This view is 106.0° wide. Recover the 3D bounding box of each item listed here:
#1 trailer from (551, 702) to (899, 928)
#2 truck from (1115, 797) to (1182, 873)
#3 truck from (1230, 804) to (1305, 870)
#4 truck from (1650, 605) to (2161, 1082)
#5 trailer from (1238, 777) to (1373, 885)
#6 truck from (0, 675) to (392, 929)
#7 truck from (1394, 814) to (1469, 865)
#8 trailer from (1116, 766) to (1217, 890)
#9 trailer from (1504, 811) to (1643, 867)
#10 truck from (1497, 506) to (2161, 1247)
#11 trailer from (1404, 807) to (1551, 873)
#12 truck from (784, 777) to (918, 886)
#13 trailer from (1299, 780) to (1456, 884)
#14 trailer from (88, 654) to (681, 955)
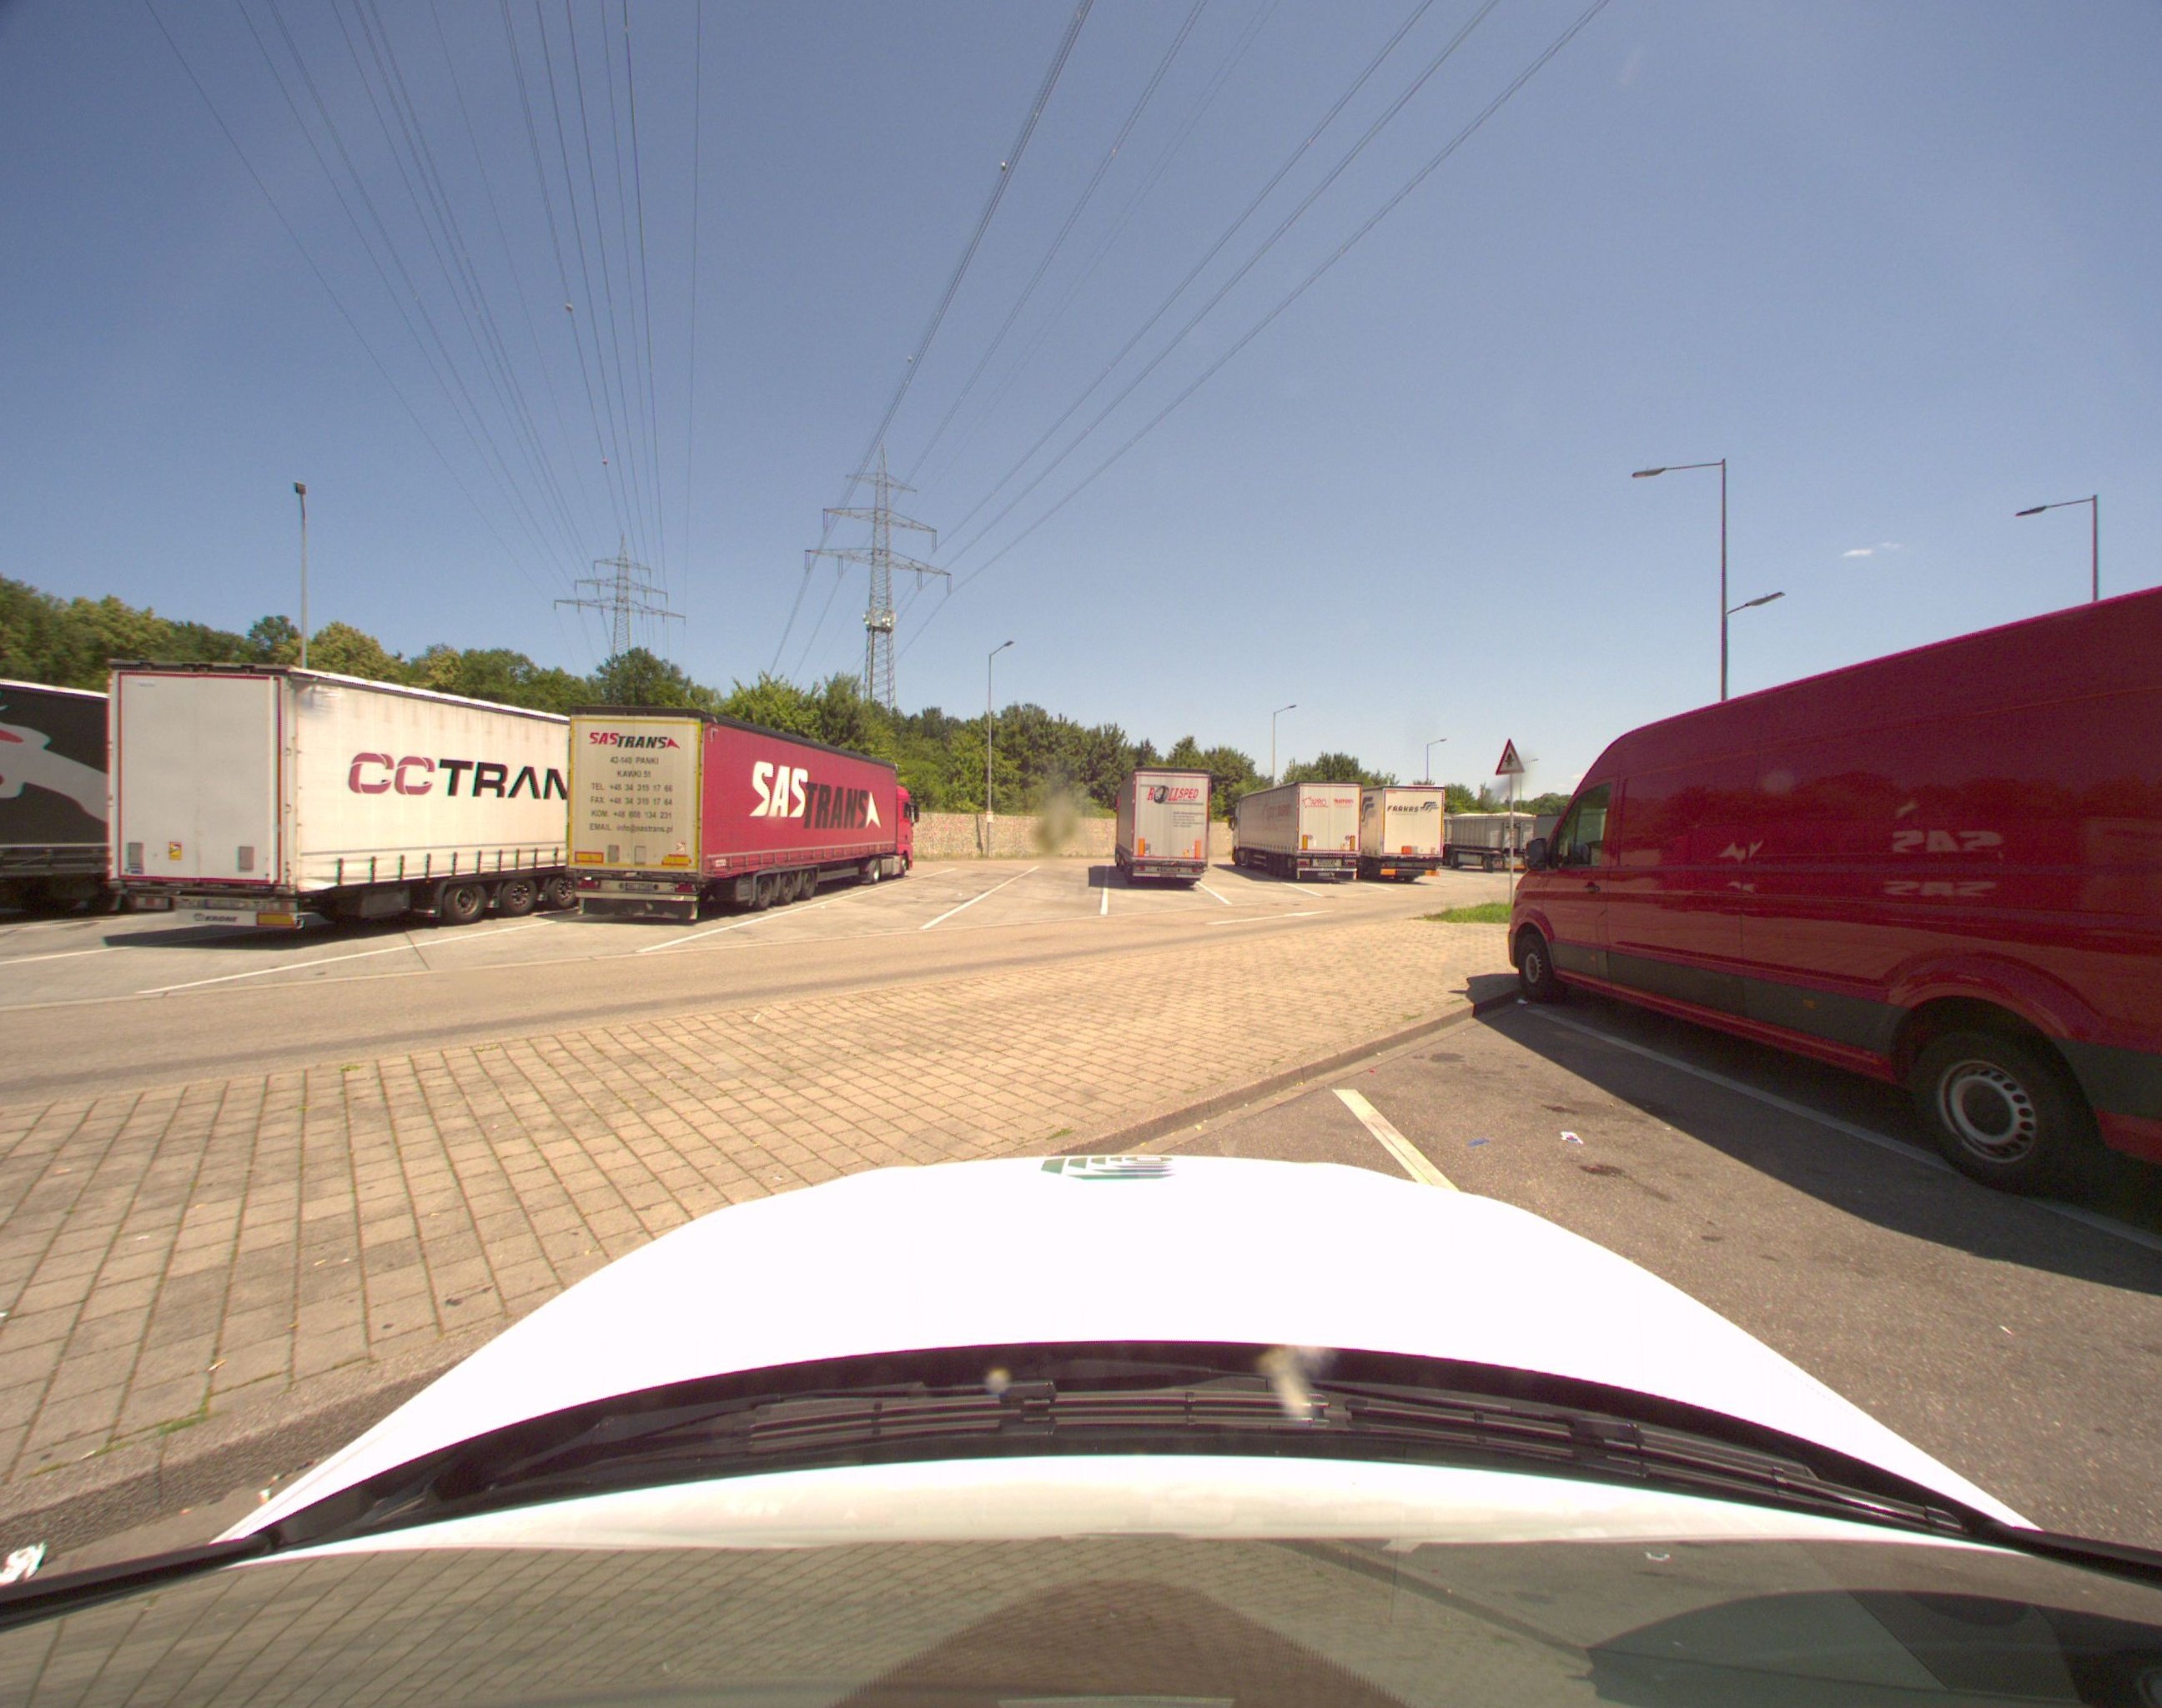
[{"bbox_3d":[-8.044,-0.928,21.724,2.811,4.070,13.770,1,2,2],"label":"trailer"},{"bbox_3d":[3.142,-0.938,39.408,2.855,3.362,5.977,1,2,2],"label":"truck"},{"bbox_3d":[10.182,-0.975,45.061,2.855,3.362,5.977,1,2,2],"label":"truck"},{"bbox_3d":[8.004,-0.072,6.882,2.406,2.906,6.466,-1,0,6],"label":"truck"},{"bbox_3d":[9.983,-1.118,38.297,2.847,4.109,13.770,1,2,2],"label":"trailer"},{"bbox_3d":[-18.547,-0.941,15.828,2.696,4.070,8.694,1,2,2],"label":"truck"},{"bbox_3d":[24.630,-1.077,57.592,2.855,3.362,5.977,1,2,2],"label":"truck"},{"bbox_3d":[3.051,-1.047,33.206,2.848,3.971,13.767,1,2,1],"label":"trailer"},{"bbox_3d":[38.225,-1.289,64.177,2.847,3.904,13.770,1,2,2],"label":"trailer"},{"bbox_3d":[5.144,0.078,5.449,2.001,2.651,6.466,-1,0,6],"label":"truck"},{"bbox_3d":[24.444,-0.990,51.495,2.847,3.599,13.770,1,2,2],"label":"trailer"},{"bbox_3d":[-7.829,-0.795,28.541,2.801,3.362,5.977,1,2,2],"label":"truck"},{"bbox_3d":[13.612,-1.092,39.221,2.847,4.109,13.770,1,2,2],"label":"trailer"},{"bbox_3d":[-12.158,-0.843,16.420,2.696,4.101,10.395,1,2,2],"label":"trailer"}]
